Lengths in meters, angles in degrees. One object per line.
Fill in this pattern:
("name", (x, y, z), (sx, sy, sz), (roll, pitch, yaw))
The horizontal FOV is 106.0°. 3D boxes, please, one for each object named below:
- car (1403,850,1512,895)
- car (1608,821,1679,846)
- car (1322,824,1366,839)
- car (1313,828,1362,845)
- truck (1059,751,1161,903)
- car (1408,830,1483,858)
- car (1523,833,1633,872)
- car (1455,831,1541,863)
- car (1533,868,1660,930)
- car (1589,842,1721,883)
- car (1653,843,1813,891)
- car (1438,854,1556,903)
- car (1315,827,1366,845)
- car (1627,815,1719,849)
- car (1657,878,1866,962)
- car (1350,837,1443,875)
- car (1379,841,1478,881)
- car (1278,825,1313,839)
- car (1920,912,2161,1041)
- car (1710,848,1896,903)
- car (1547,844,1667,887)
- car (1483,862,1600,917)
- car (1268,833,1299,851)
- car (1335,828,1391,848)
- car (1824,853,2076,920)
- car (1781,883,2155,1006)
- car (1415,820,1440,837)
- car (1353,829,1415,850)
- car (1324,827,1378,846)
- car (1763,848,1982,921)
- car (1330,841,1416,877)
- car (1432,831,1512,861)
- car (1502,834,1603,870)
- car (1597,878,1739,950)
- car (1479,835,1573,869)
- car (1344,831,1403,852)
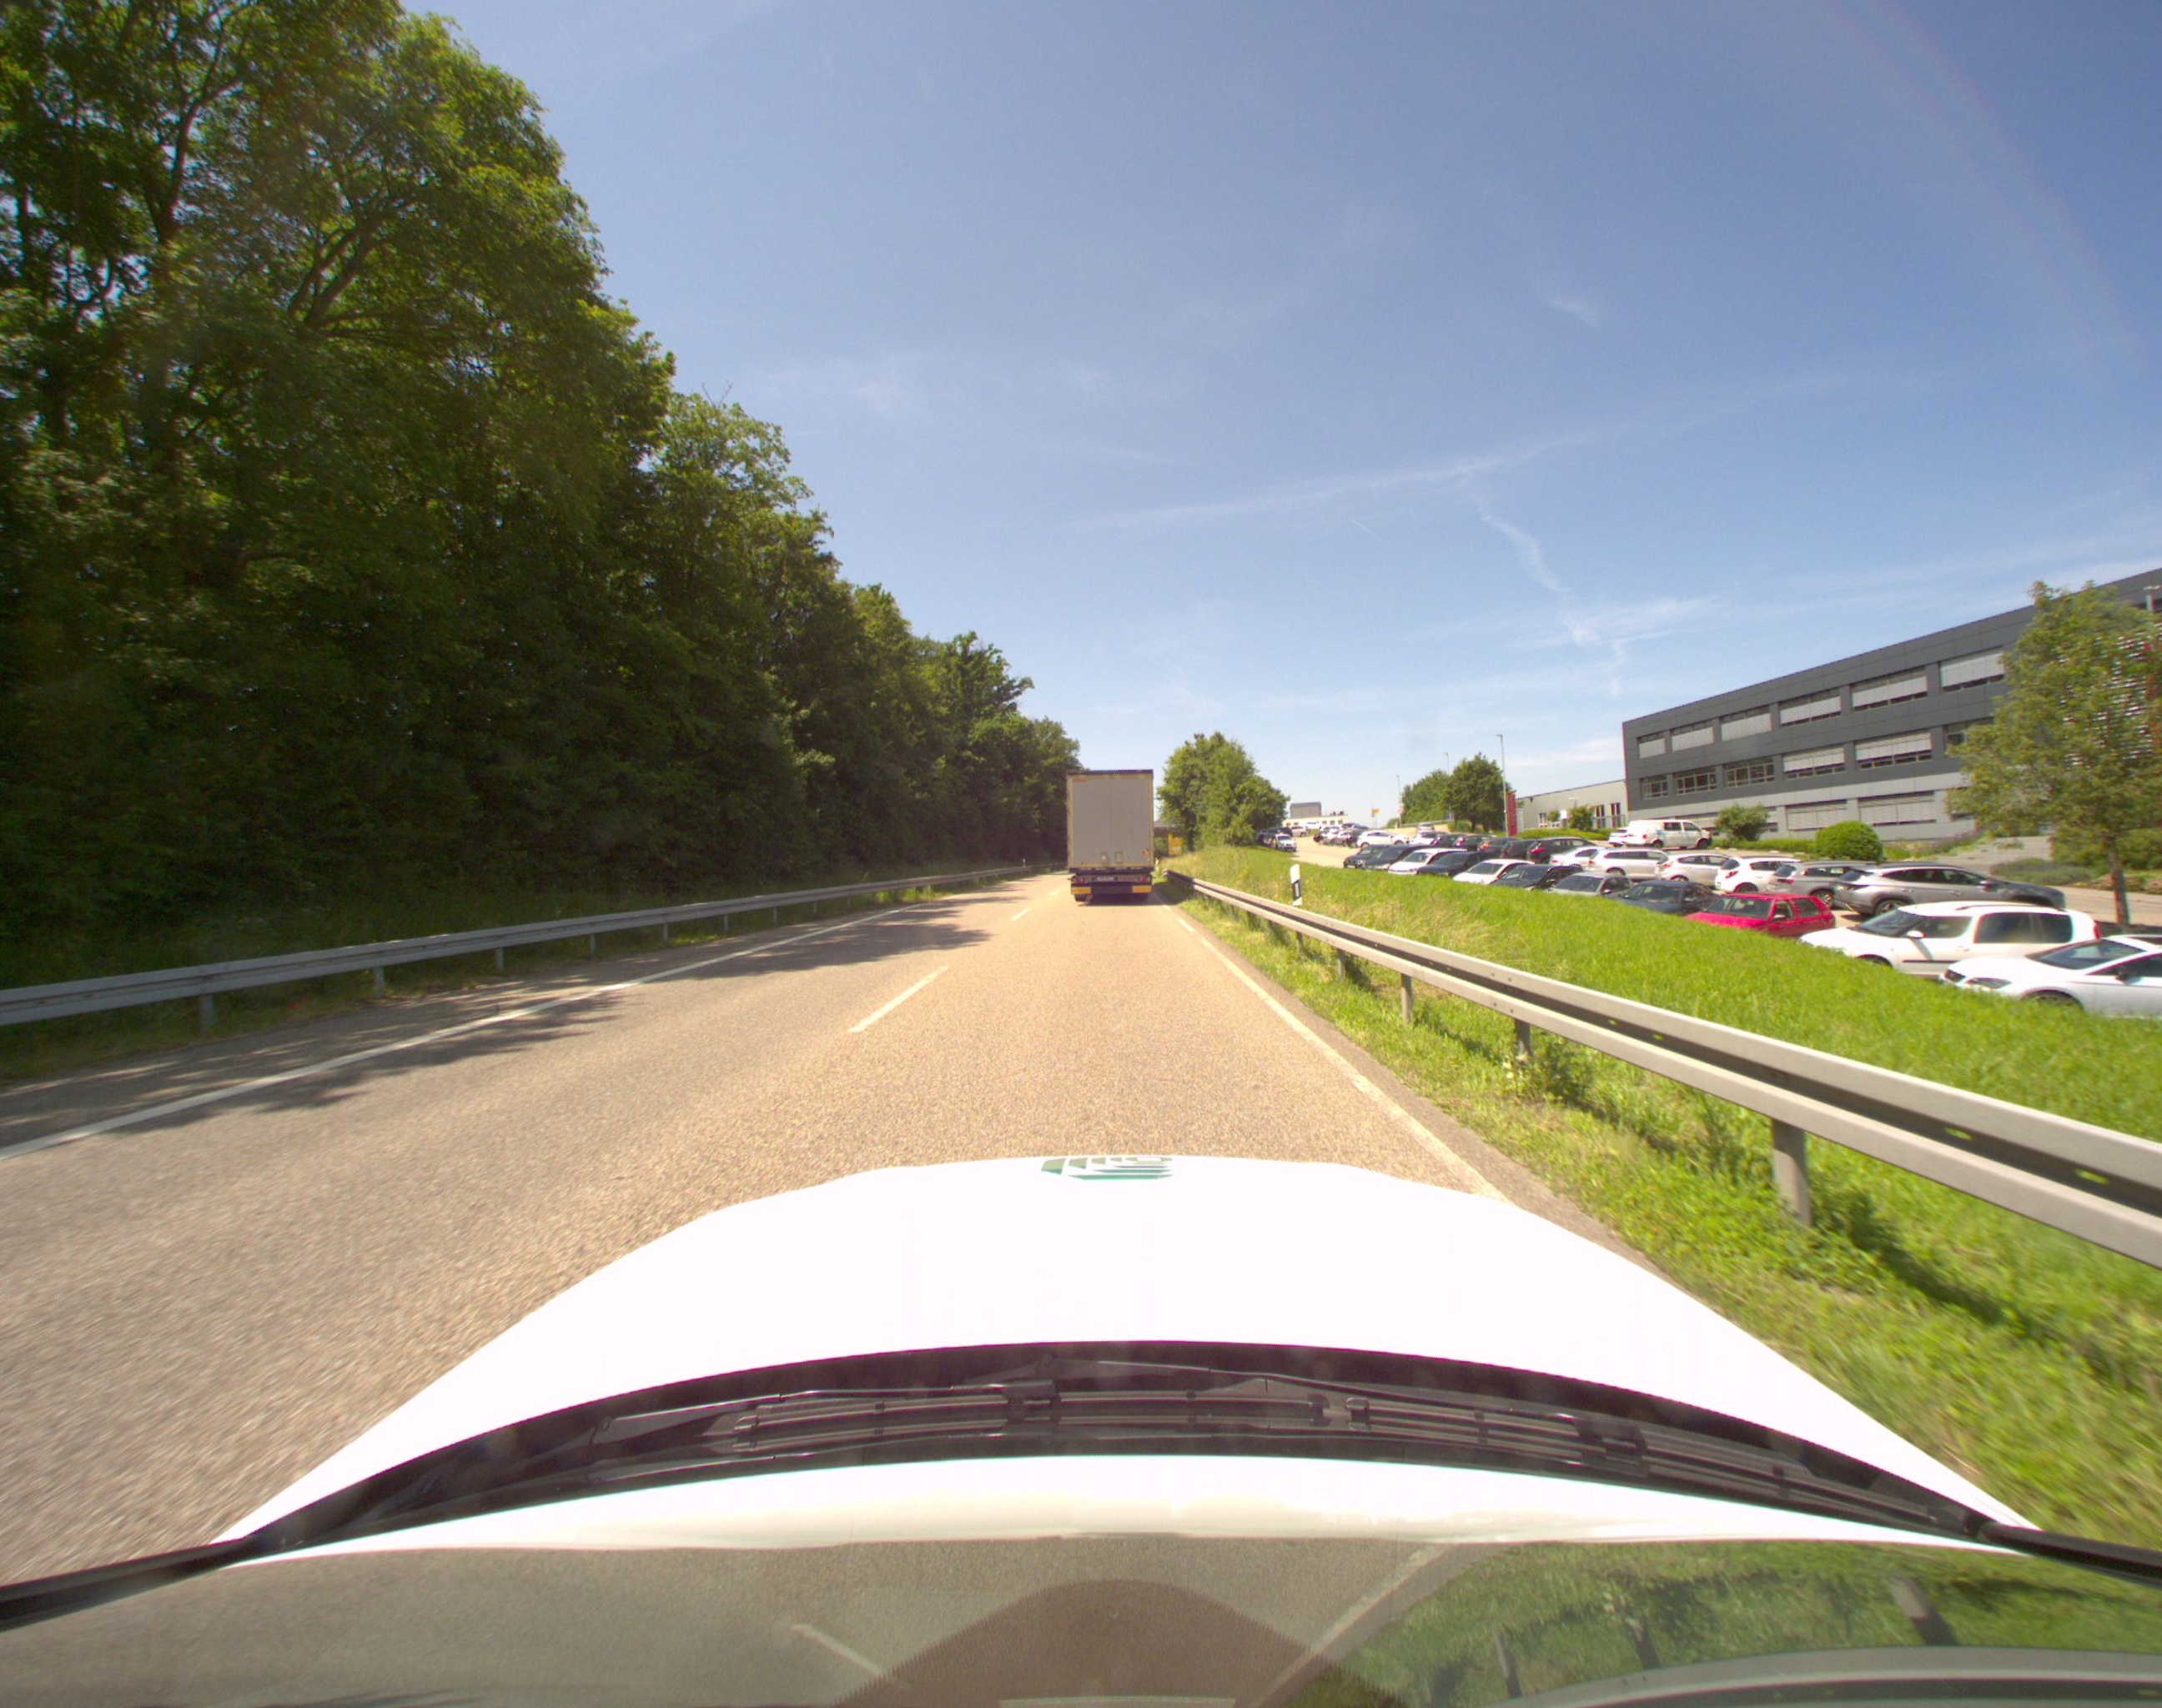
("car", (16.160, 0.798, 34.915), (4.387, 1.685, 1.872), (2, 2, -28))
("car", (38.332, -1.421, 55.534), (3.648, 1.588, 1.685), (-2, 2, 1))
("car", (30.487, -2.547, 94.328), (4.527, 1.629, 1.832), (0, 0, 35))
("car", (25.389, -1.755, 80.595), (4.532, 1.629, 1.830), (0, 0, 22))
("truck", (1.013, -0.801, 28.538), (2.855, 4.359, 9.793), (-1, 0, 2))
("car", (25.156, -0.729, 56.193), (4.530, 1.628, 1.832), (4, 3, 27))
("car", (24.883, -0.094, 41.001), (4.530, 1.628, 1.832), (4, 3, 27))
("car", (25.473, -0.459, 49.844), (4.530, 1.628, 1.832), (4, 3, 27))
("car", (16.465, 1.360, 25.953), (4.396, 1.685, 1.868), (1, 3, -36))
("car", (24.623, 0.346, 35.167), (4.527, 1.519, 1.833), (0, 5, 31))
("car", (25.288, 0.495, 31.796), (4.529, 1.477, 1.832), (-4, 3, 26))
("car", (16.409, 0.969, 32.100), (4.387, 1.685, 1.872), (2, 2, -28))
("car", (24.727, -1.709, 77.627), (4.532, 1.629, 1.830), (0, -1, 21))
("car", (37.916, -1.415, 52.259), (4.555, 1.949, 1.821), (-2, 2, 1))
("car", (16.275, 1.551, 19.496), (4.378, 1.685, 1.876), (2, 2, -21))
("car", (15.843, 0.112, 40.886), (4.387, 1.685, 1.872), (2, 2, -28))
("car", (16.316, 0.336, 38.230), (4.387, 1.685, 1.872), (2, 2, -28))
("car", (28.398, -2.947, 107.873), (4.387, 1.685, 1.872), (-2, 4, -27))
("car", (16.517, 1.966, 12.725), (4.322, 1.559, 1.900), (4, 3, 30))
("car", (25.280, 0.686, 28.755), (4.529, 1.628, 1.832), (0, 7, 26))
("car", (24.724, 0.495, 38.461), (4.530, 1.628, 1.832), (4, 3, 27))
("car", (16.351, 1.225, 28.839), (4.396, 1.685, 1.868), (1, 3, -36))
("car", (17.371, -1.076, 69.971), (1.620, 1.353, 3.708), (3, 2, -3))
("car", (24.661, -1.414, 71.214), (4.532, 1.628, 1.830), (-1, 1, 22))
("car", (24.373, 0.893, 23.113), (4.529, 1.628, 1.832), (-1, 4, 26))
("car", (16.695, 1.617, 15.697), (4.407, 1.685, 1.898), (4, 2, 23))
("car", (36.154, -2.670, 85.029), (1.789, 1.662, 4.025), (0, 0, 32))
("car", (24.411, -1.161, 65.623), (4.532, 1.628, 1.830), (1, 1, 22))
("car", (24.689, -1.648, 74.469), (4.532, 1.628, 1.830), (2, 2, 21))
("car", (24.870, 0.886, 25.857), (4.530, 1.627, 1.833), (4, 11, 26))
("car", (15.837, 0.278, 44.131), (4.387, 1.685, 1.872), (2, 2, -28))
("car", (25.258, -0.527, 52.624), (4.530, 1.628, 1.832), (4, 3, 27))
("car", (25.113, -0.136, 43.546), (4.530, 1.628, 1.832), (4, 3, 27))
("car", (16.491, 1.595, 22.823), (4.396, 1.685, 1.868), (1, 3, -36))
("car", (25.425, -0.153, 46.675), (4.530, 1.628, 1.832), (4, 3, 27))
("car", (24.544, -1.084, 68.259), (4.532, 1.628, 1.830), (2, 2, 22))
